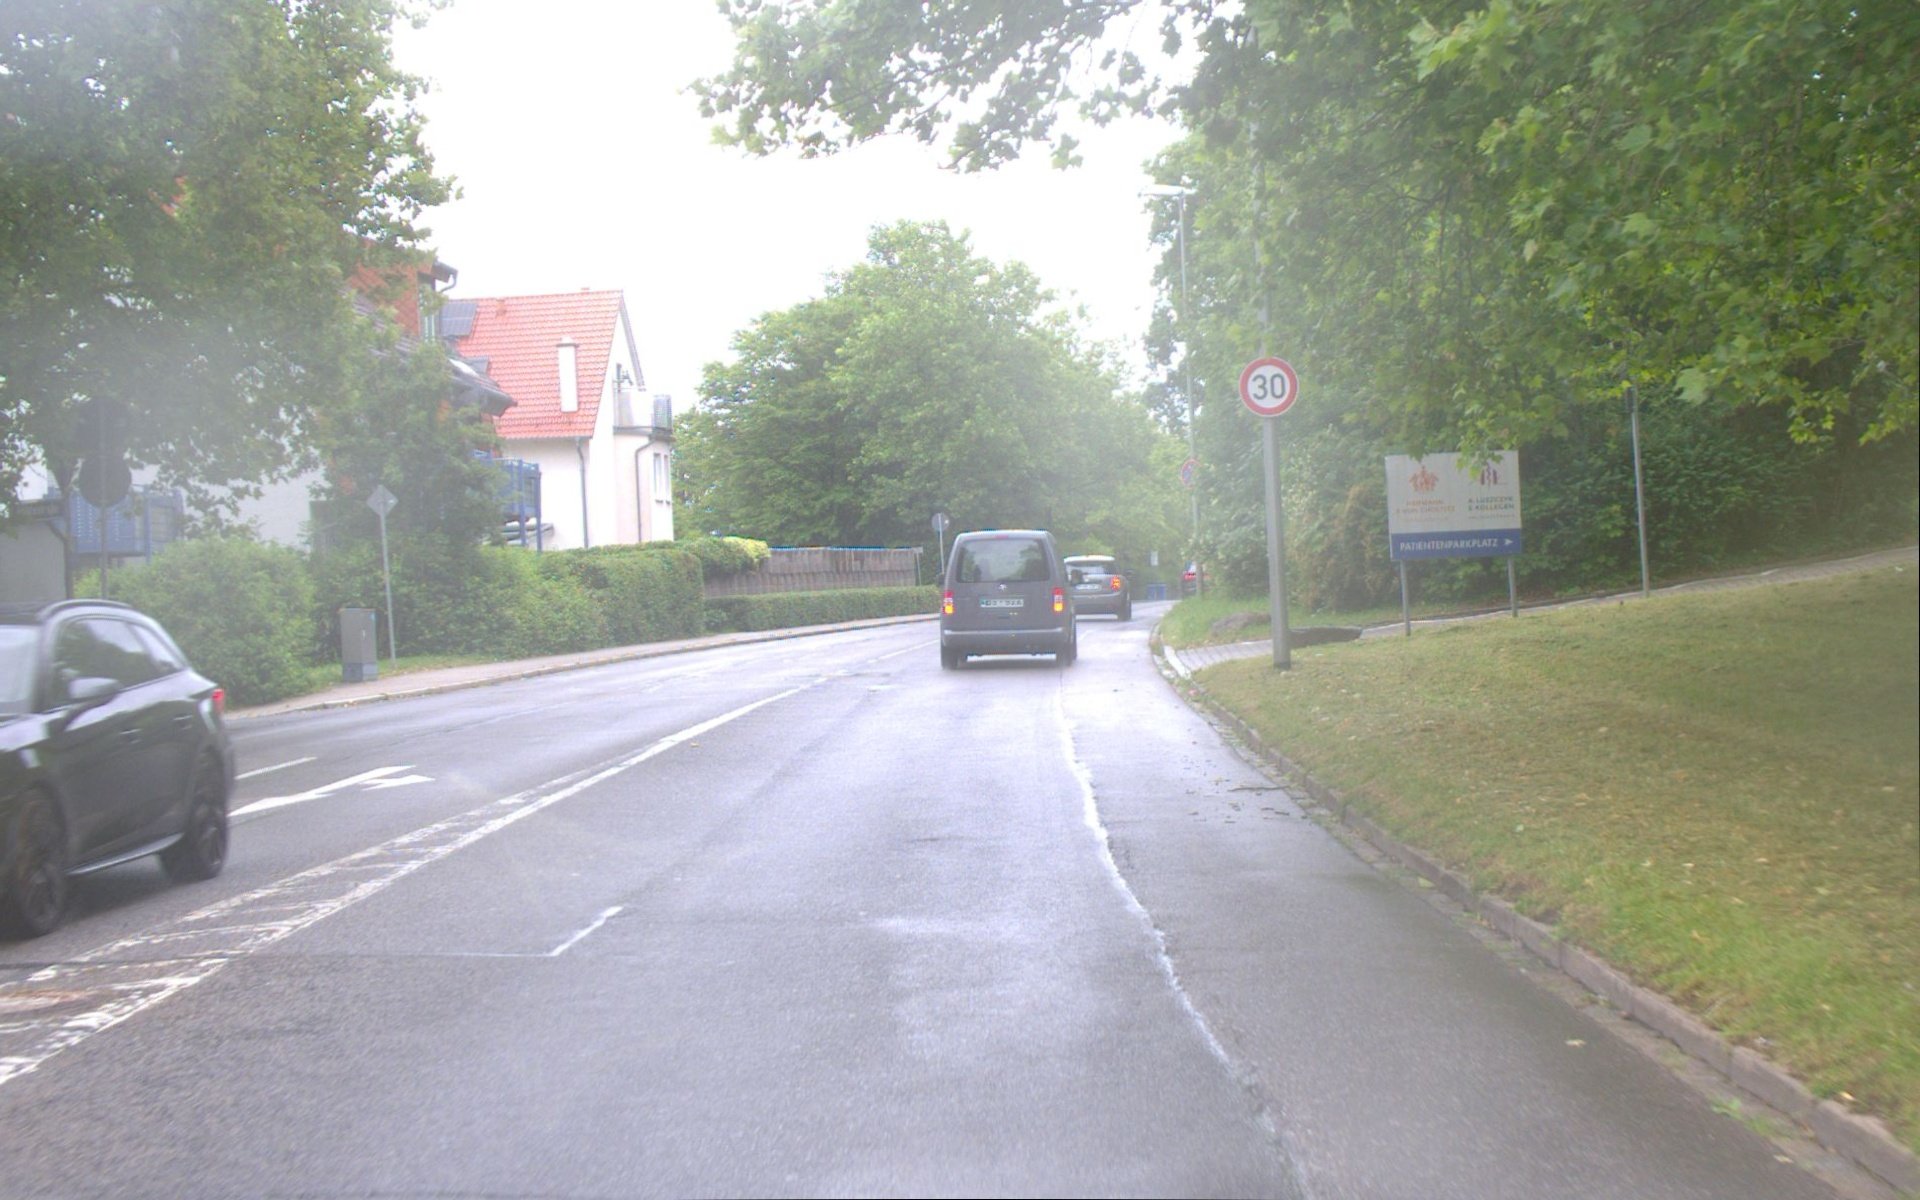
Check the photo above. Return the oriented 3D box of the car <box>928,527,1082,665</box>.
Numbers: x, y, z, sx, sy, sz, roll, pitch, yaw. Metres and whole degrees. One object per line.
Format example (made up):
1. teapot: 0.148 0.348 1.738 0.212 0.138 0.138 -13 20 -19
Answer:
1. car: 0.609 -0.093 46.855 1.993 1.787 4.000 0 1 1

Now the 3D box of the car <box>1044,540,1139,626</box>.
1. car: 2.968 -0.397 76.910 1.950 1.744 4.000 -3 1 3

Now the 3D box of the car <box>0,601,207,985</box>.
1. car: -4.841 0.810 15.591 1.993 1.424 4.388 -3 1 -2

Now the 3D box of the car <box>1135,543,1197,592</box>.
1. car: 7.431 -1.162 124.479 1.993 1.744 4.000 0 0 0
